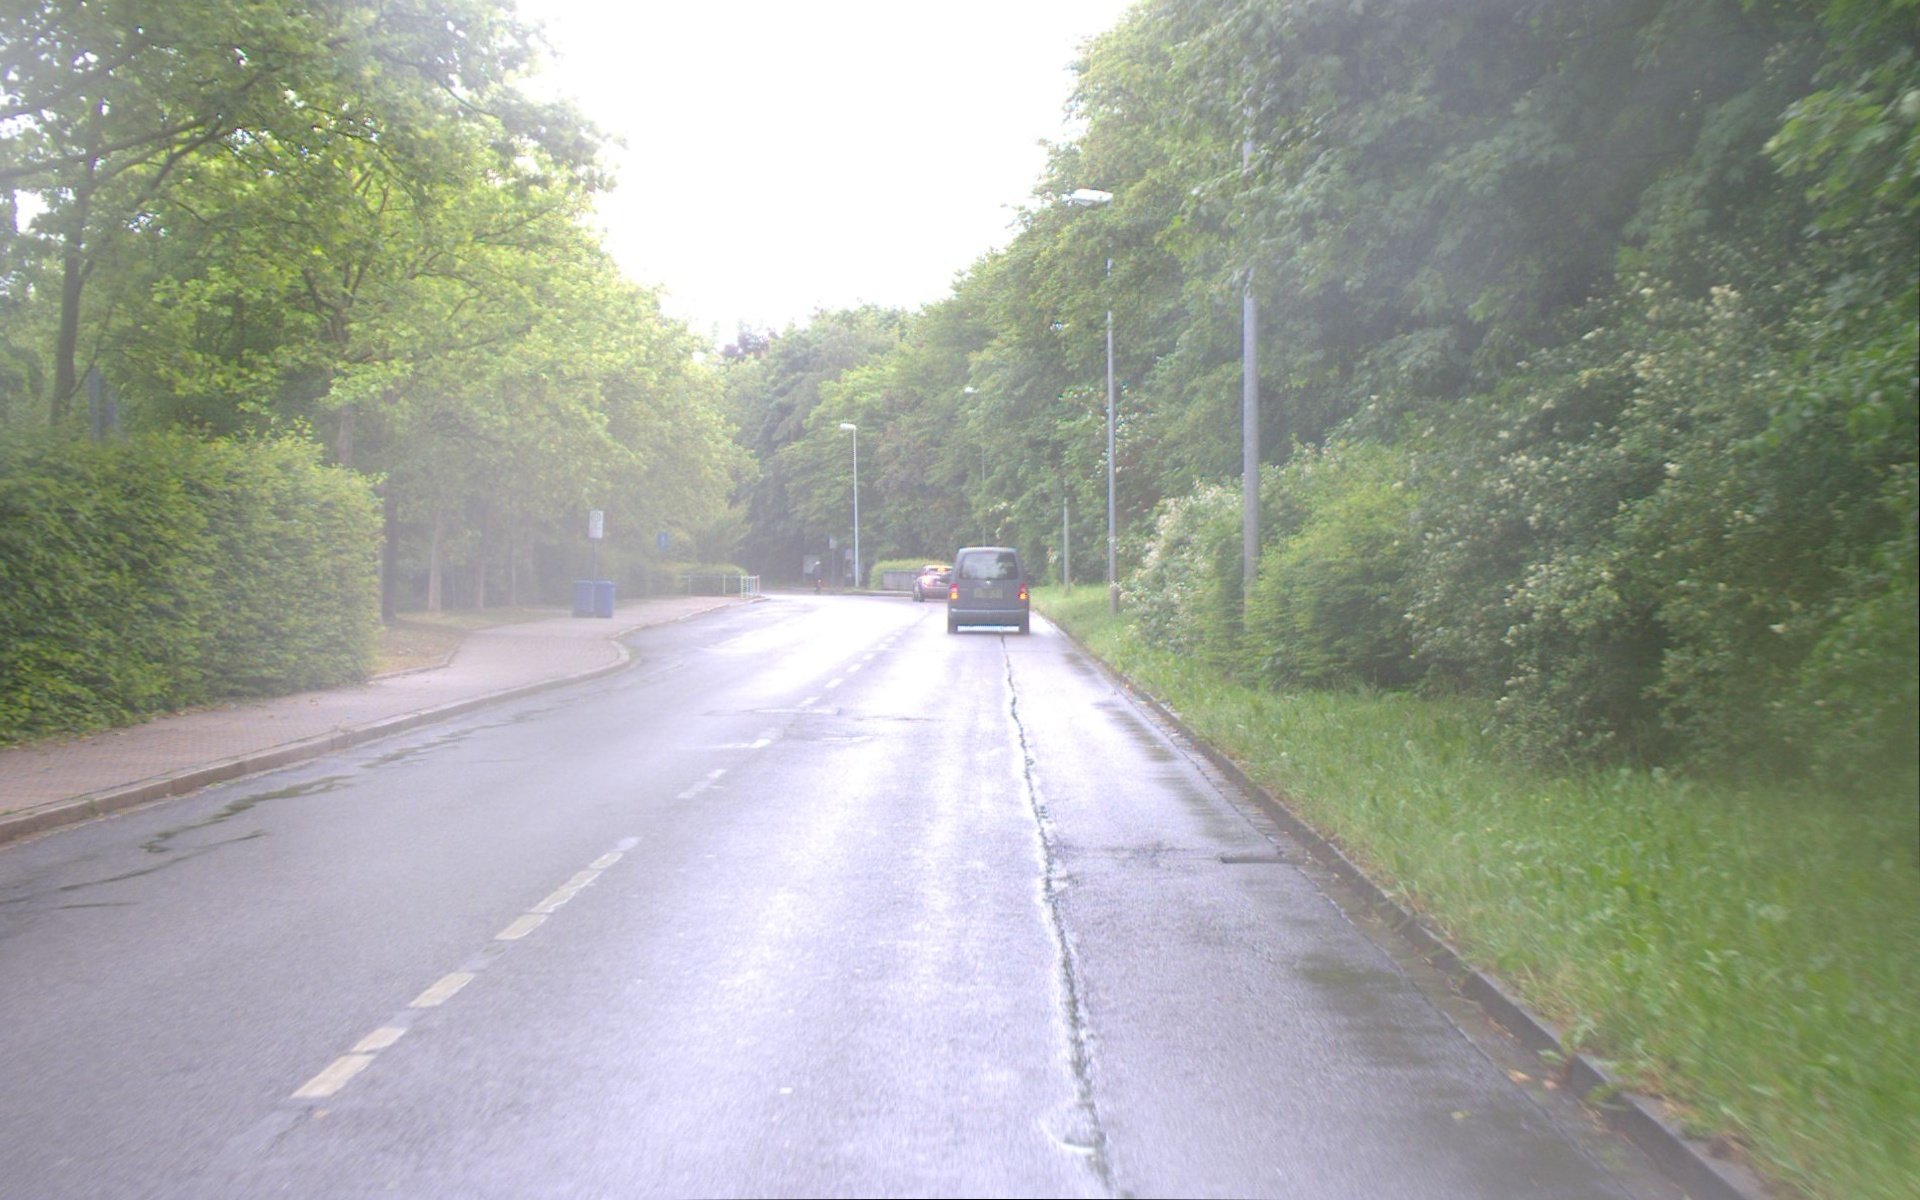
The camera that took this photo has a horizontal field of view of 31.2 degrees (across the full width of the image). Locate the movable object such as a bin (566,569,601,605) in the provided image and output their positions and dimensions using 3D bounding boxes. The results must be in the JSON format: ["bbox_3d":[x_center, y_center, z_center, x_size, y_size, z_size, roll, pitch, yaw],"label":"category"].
[{"bbox_3d":[-10.988,-0.384,100.310,0.666,1.023,0.835,-3,1,-31],"label":"movable object such as a bin"}]

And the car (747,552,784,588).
[{"bbox_3d":[-11.534,-1.796,204.318,1.993,2.007,4.000,2,1,-1],"label":"car"}]

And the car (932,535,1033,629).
[{"bbox_3d":[0.452,-0.413,73.603,1.993,1.787,4.001,3,2,-1],"label":"car"}]

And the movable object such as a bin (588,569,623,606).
[{"bbox_3d":[-10.383,-0.365,100.670,0.666,1.023,0.835,-3,1,-31],"label":"movable object such as a bin"}]

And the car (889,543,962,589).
[{"bbox_3d":[-1.400,-1.376,138.170,1.993,1.766,4.001,-1,1,-14],"label":"car"}]
